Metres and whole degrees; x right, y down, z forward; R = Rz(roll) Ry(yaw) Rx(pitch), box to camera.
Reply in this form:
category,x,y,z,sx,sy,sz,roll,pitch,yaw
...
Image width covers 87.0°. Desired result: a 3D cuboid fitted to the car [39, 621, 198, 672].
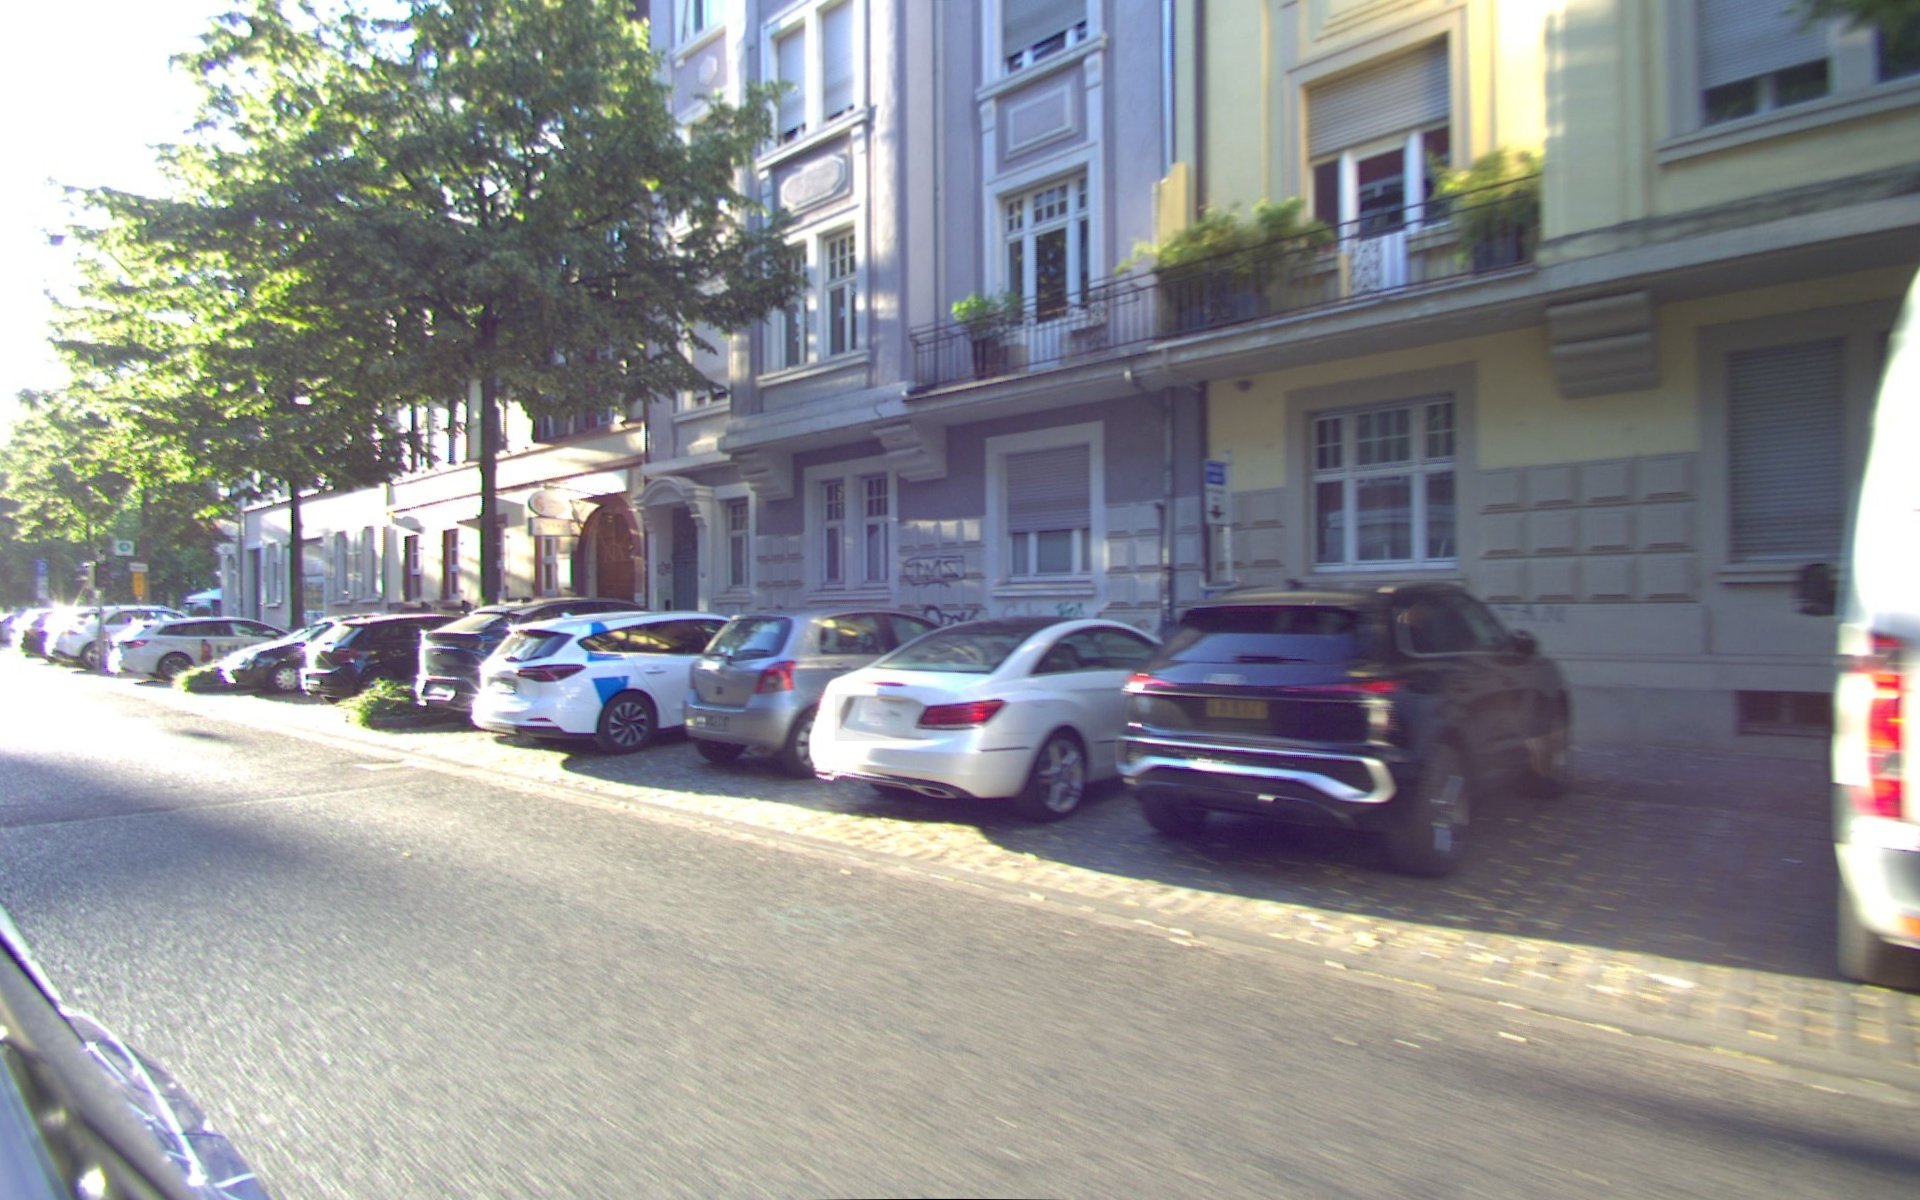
category,x,y,z,sx,sy,sz,roll,pitch,yaw
car,-27.391,1.474,33.008,1.820,1.472,3.776,-2,-1,42

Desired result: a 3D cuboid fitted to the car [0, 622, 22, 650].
category,x,y,z,sx,sy,sz,roll,pitch,yaw
car,-55.031,2.022,56.062,1.790,1.569,4.566,-1,-1,3

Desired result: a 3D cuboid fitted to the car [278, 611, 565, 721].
category,x,y,z,sx,sy,sz,roll,pitch,yaw
car,-8.895,1.011,16.987,1.695,1.459,3.878,-2,1,38

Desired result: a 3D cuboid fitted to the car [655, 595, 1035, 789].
category,x,y,z,sx,sy,sz,roll,pitch,yaw
car,-1.053,0.769,10.168,1.847,1.521,3.369,-2,0,44

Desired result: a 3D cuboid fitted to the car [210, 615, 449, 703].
category,x,y,z,sx,sy,sz,roll,pitch,yaw
car,-12.640,1.114,20.440,1.789,1.459,3.744,-2,0,43

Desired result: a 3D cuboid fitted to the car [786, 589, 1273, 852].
category,x,y,z,sx,sy,sz,roll,pitch,yaw
car,0.801,0.726,8.230,1.792,1.517,4.170,-2,0,41

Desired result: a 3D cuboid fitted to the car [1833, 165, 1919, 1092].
category,x,y,z,sx,sy,sz,roll,pitch,yaw
car,5.257,0.008,4.384,2.170,2.641,5.600,-2,0,41

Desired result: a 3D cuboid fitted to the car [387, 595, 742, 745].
category,x,y,z,sx,sy,sz,roll,pitch,yaw
car,-5.263,0.825,13.967,1.890,1.663,4.192,-2,0,37

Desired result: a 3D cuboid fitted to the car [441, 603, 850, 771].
category,x,y,z,sx,sy,sz,roll,pitch,yaw
car,-3.473,0.848,11.806,1.969,1.494,4.144,-2,0,40

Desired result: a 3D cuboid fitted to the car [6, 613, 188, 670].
category,x,y,z,sx,sy,sz,roll,pitch,yaw
car,-29.471,1.347,34.685,1.945,1.796,4.509,-1,-1,40

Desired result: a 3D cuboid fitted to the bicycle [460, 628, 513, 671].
category,x,y,z,sx,sy,sz,roll,pitch,yaw
bicycle,-11.693,1.204,24.974,0.613,0.996,1.734,-2,0,-45

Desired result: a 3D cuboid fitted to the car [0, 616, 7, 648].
category,x,y,z,sx,sy,sz,roll,pitch,yaw
car,-60.128,1.957,60.497,1.876,1.948,4.566,-1,-1,3

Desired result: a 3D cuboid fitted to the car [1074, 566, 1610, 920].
category,x,y,z,sx,sy,sz,roll,pitch,yaw
car,2.810,0.627,6.830,1.975,1.612,4.168,-2,0,42

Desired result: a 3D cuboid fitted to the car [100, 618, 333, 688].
category,x,y,z,sx,sy,sz,roll,pitch,yaw
car,-18.304,1.250,25.078,1.821,1.433,4.337,-2,0,41

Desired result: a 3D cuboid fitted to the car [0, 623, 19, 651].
category,x,y,z,sx,sy,sz,roll,pitch,yaw
car,-57.596,2.175,58.566,1.876,1.645,4.566,-1,-1,3

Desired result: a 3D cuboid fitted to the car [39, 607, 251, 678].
category,x,y,z,sx,sy,sz,roll,pitch,yaw
car,-24.272,1.195,30.258,2.052,1.825,4.657,-2,0,42
